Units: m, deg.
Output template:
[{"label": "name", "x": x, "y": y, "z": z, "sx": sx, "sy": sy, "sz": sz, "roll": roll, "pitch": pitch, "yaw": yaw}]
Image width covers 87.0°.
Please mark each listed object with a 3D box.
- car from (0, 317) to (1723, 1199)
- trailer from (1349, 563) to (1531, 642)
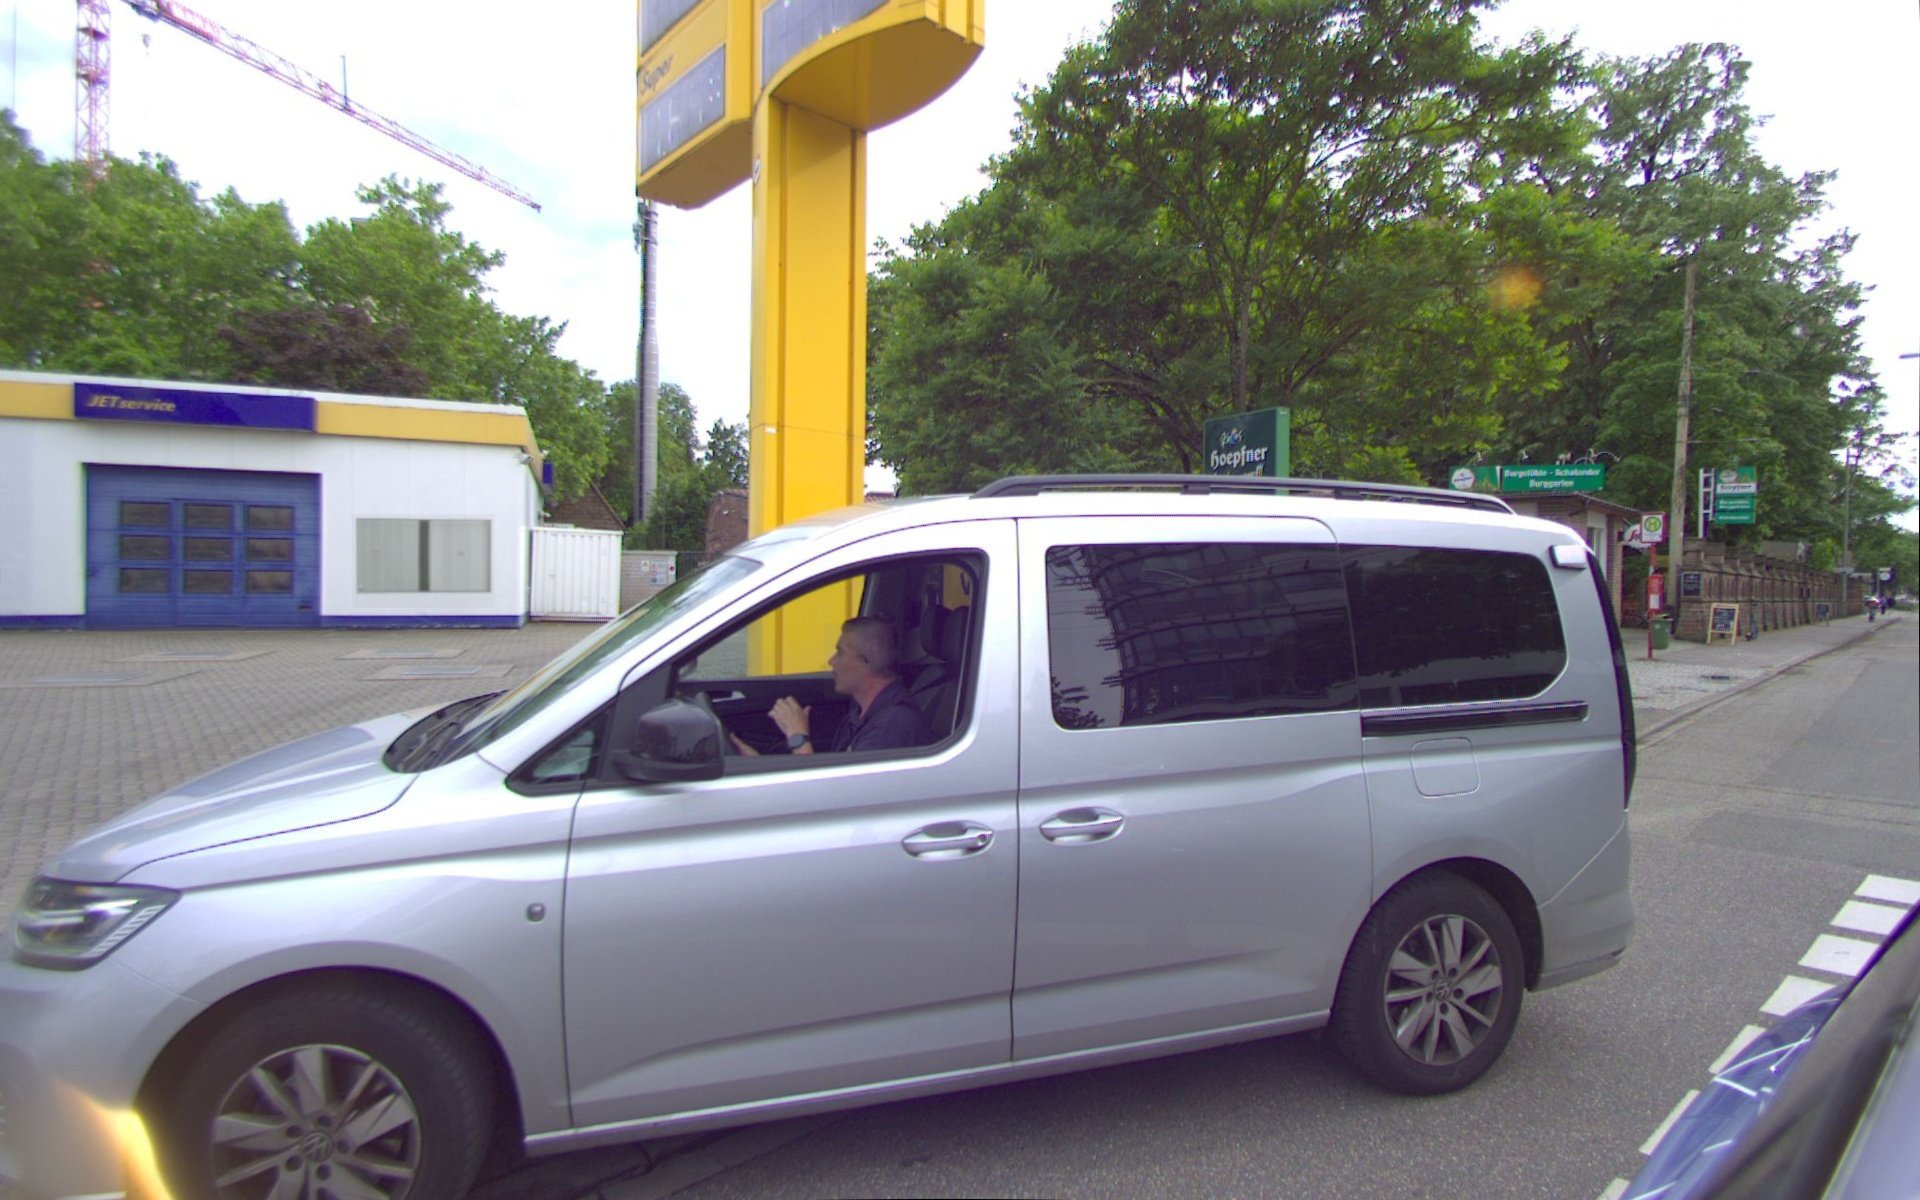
[{"label": "car", "x": -0.144, "y": 0.404, "z": 3.438, "sx": 4.432, "sy": 1.865, "sz": 1.992, "roll": 2, "pitch": 2, "yaw": -15}, {"label": "trailer", "x": 10.774, "y": -0.003, "z": 22.827, "sx": 1.745, "sy": 1.549, "sz": 3.286, "roll": -3, "pitch": 5, "yaw": -43}]
